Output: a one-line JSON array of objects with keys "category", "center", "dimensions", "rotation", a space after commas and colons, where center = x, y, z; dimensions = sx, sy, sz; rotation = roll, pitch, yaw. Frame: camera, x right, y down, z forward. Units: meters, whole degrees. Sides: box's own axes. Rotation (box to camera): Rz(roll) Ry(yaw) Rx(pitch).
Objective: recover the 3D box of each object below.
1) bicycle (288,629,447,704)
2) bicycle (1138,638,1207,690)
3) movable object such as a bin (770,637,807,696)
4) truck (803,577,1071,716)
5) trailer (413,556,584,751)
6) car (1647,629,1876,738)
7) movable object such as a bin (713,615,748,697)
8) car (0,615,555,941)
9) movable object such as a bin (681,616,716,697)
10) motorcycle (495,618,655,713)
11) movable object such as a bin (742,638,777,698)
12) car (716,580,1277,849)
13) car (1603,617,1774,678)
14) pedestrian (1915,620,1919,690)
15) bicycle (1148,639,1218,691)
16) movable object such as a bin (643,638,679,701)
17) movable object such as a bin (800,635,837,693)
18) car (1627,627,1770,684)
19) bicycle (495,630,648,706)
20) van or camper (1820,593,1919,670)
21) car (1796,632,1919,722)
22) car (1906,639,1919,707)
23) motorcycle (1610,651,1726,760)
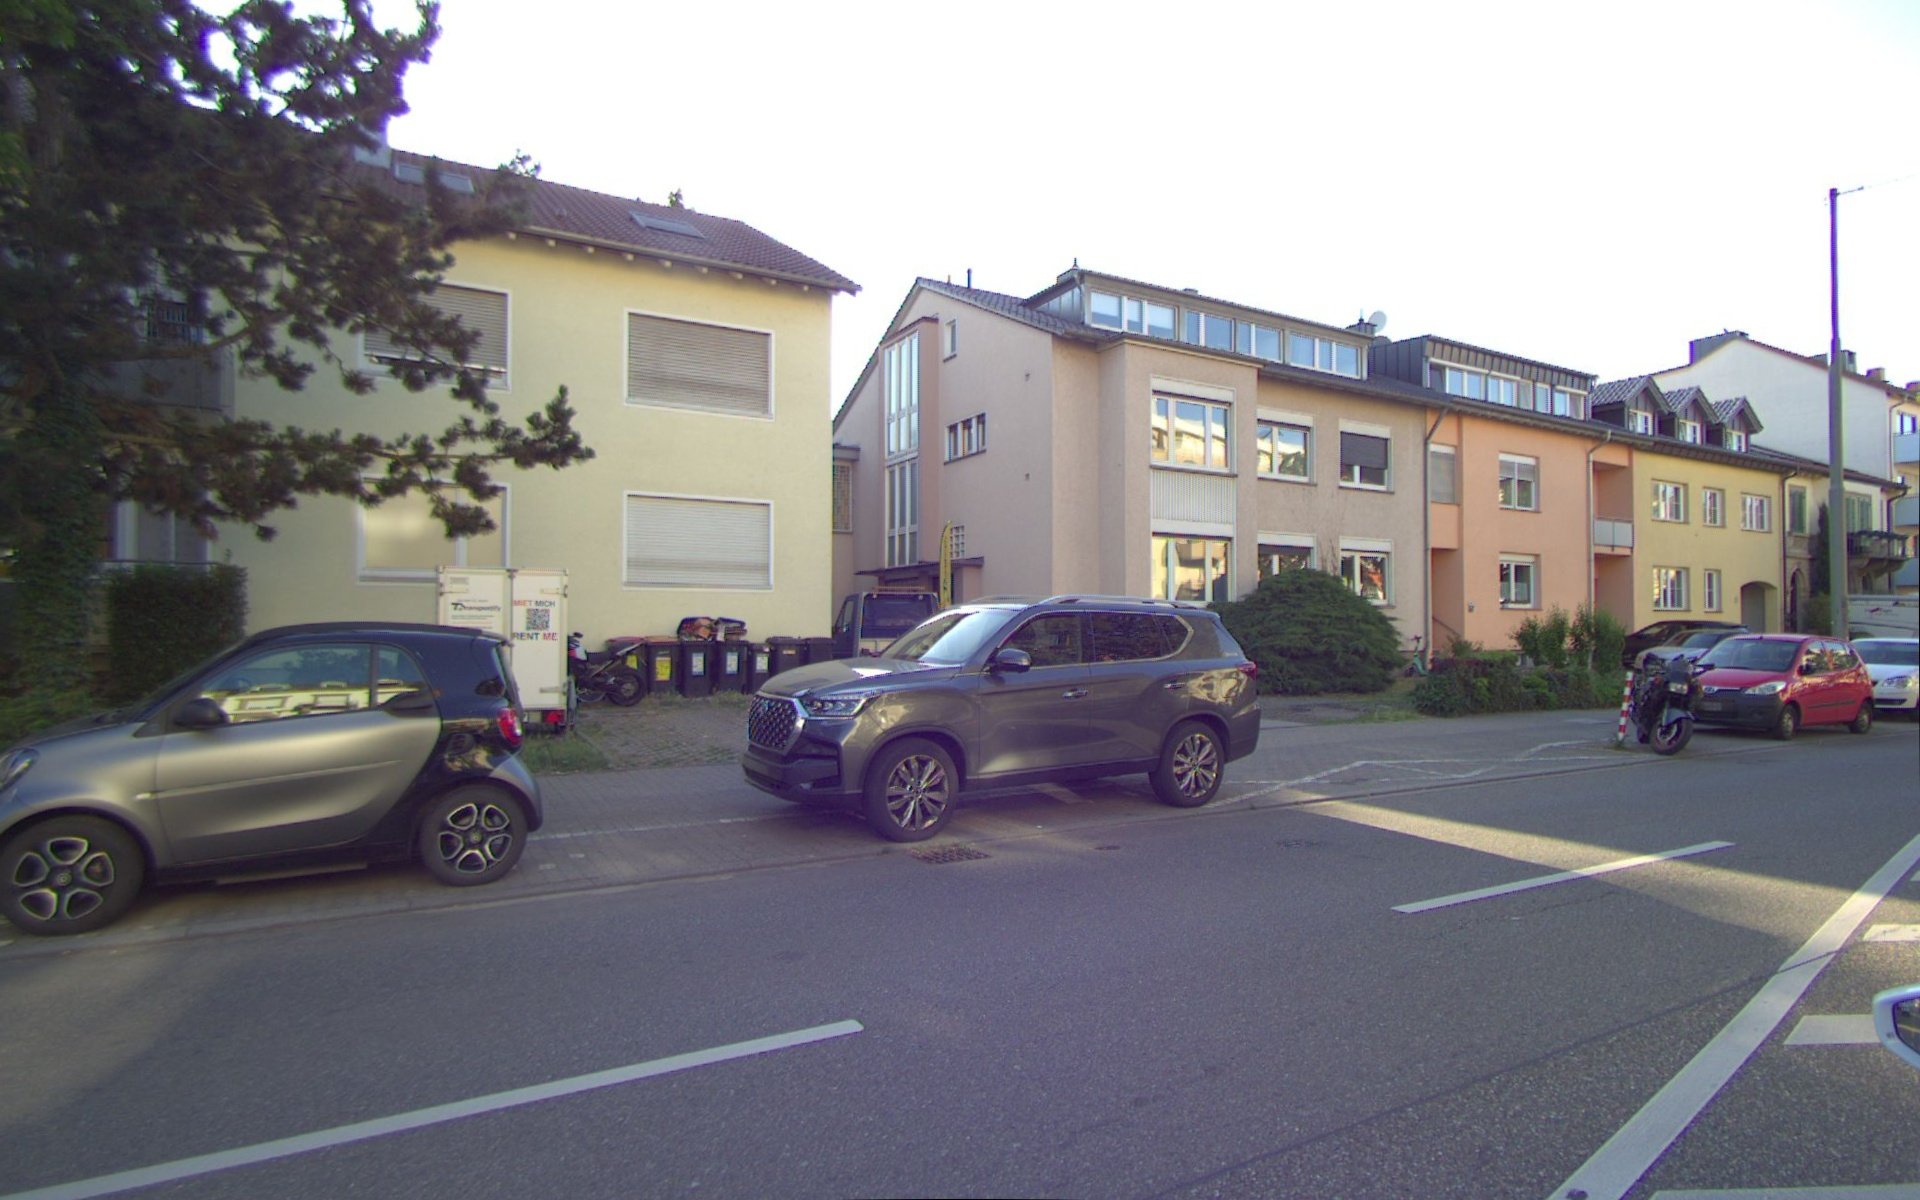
[{"category": "bicycle", "center": [-8.937, 0.983, 15.225], "dimensions": [2.022, 1.078, 0.516], "rotation": [1, -2, -31]}, {"category": "bicycle", "center": [4.654, 1.381, 21.929], "dimensions": [1.691, 1.100, 0.331], "rotation": [1, -2, -31]}, {"category": "movable object such as a bin", "center": [-3.127, 1.192, 18.270], "dimensions": [0.531, 1.044, 0.478], "rotation": [1, -2, -29]}, {"category": "truck", "center": [-0.761, 0.837, 19.474], "dimensions": [2.249, 2.214, 6.864], "rotation": [1, -2, -29]}, {"category": "trailer", "center": [-5.630, 0.613, 12.109], "dimensions": [1.535, 2.040, 2.758], "rotation": [1, -2, -32]}, {"category": "car", "center": [12.593, 1.231, 15.775], "dimensions": [3.392, 1.543, 1.587], "rotation": [1, -2, -28]}, {"category": "movable object such as a bin", "center": [-4.040, 0.975, 17.675], "dimensions": [0.480, 1.420, 0.478], "rotation": [1, -1, -29]}, {"category": "car", "center": [-4.062, 0.900, 6.154], "dimensions": [2.718, 1.576, 1.565], "rotation": [1, -2, -31]}, {"category": "movable object such as a bin", "center": [-4.533, 0.968, 17.397], "dimensions": [0.480, 1.376, 0.478], "rotation": [1, -1, -29]}, {"category": "motorcycle", "center": [-5.926, 0.992, 15.526], "dimensions": [2.232, 1.392, 0.568], "rotation": [1, -2, -31]}, {"category": "movable object such as a bin", "center": [-3.582, 1.199, 17.960], "dimensions": [0.480, 1.044, 0.478], "rotation": [1, -2, -29]}, {"category": "car", "center": [0.441, 0.833, 8.784], "dimensions": [4.673, 1.802, 1.877], "rotation": [1, -2, -32]}, {"category": "car", "center": [22.826, 1.437, 31.632], "dimensions": [1.843, 1.658, 3.970], "rotation": [1, 0, -28]}, {"category": "pedestrian", "center": [25.454, 1.434, 26.147], "dimensions": [0.499, 1.816, 0.711], "rotation": [1, -2, -27]}, {"category": "bicycle", "center": [4.810, 1.384, 21.607], "dimensions": [1.691, 1.100, 0.331], "rotation": [1, -2, -31]}, {"category": "movable object such as a bin", "center": [-5.088, 1.164, 17.080], "dimensions": [0.480, 1.044, 0.478], "rotation": [1, -2, -29]}, {"category": "movable object such as a bin", "center": [-2.621, 1.177, 18.603], "dimensions": [0.543, 1.044, 0.478], "rotation": [1, -2, -29]}, {"category": "car", "center": [19.679, 1.460, 26.747], "dimensions": [3.706, 1.427, 1.658], "rotation": [1, -3, -29]}, {"category": "bicycle", "center": [-6.244, 1.076, 16.215], "dimensions": [2.232, 1.156, 0.567], "rotation": [1, -1, -31]}, {"category": "van or camper", "center": [36.784, 1.213, 37.467], "dimensions": [2.324, 2.810, 6.764], "rotation": [1, 0, -30]}, {"category": "car", "center": [17.694, 1.391, 19.129], "dimensions": [3.847, 1.543, 1.585], "rotation": [1, -2, -31]}, {"category": "car", "center": [21.837, 1.536, 21.372], "dimensions": [3.623, 1.415, 1.536], "rotation": [1, -2, -30]}, {"category": "motorcycle", "center": [9.530, 1.346, 13.528], "dimensions": [1.164, 1.282, 2.362], "rotation": [-1, -2, 36]}]
